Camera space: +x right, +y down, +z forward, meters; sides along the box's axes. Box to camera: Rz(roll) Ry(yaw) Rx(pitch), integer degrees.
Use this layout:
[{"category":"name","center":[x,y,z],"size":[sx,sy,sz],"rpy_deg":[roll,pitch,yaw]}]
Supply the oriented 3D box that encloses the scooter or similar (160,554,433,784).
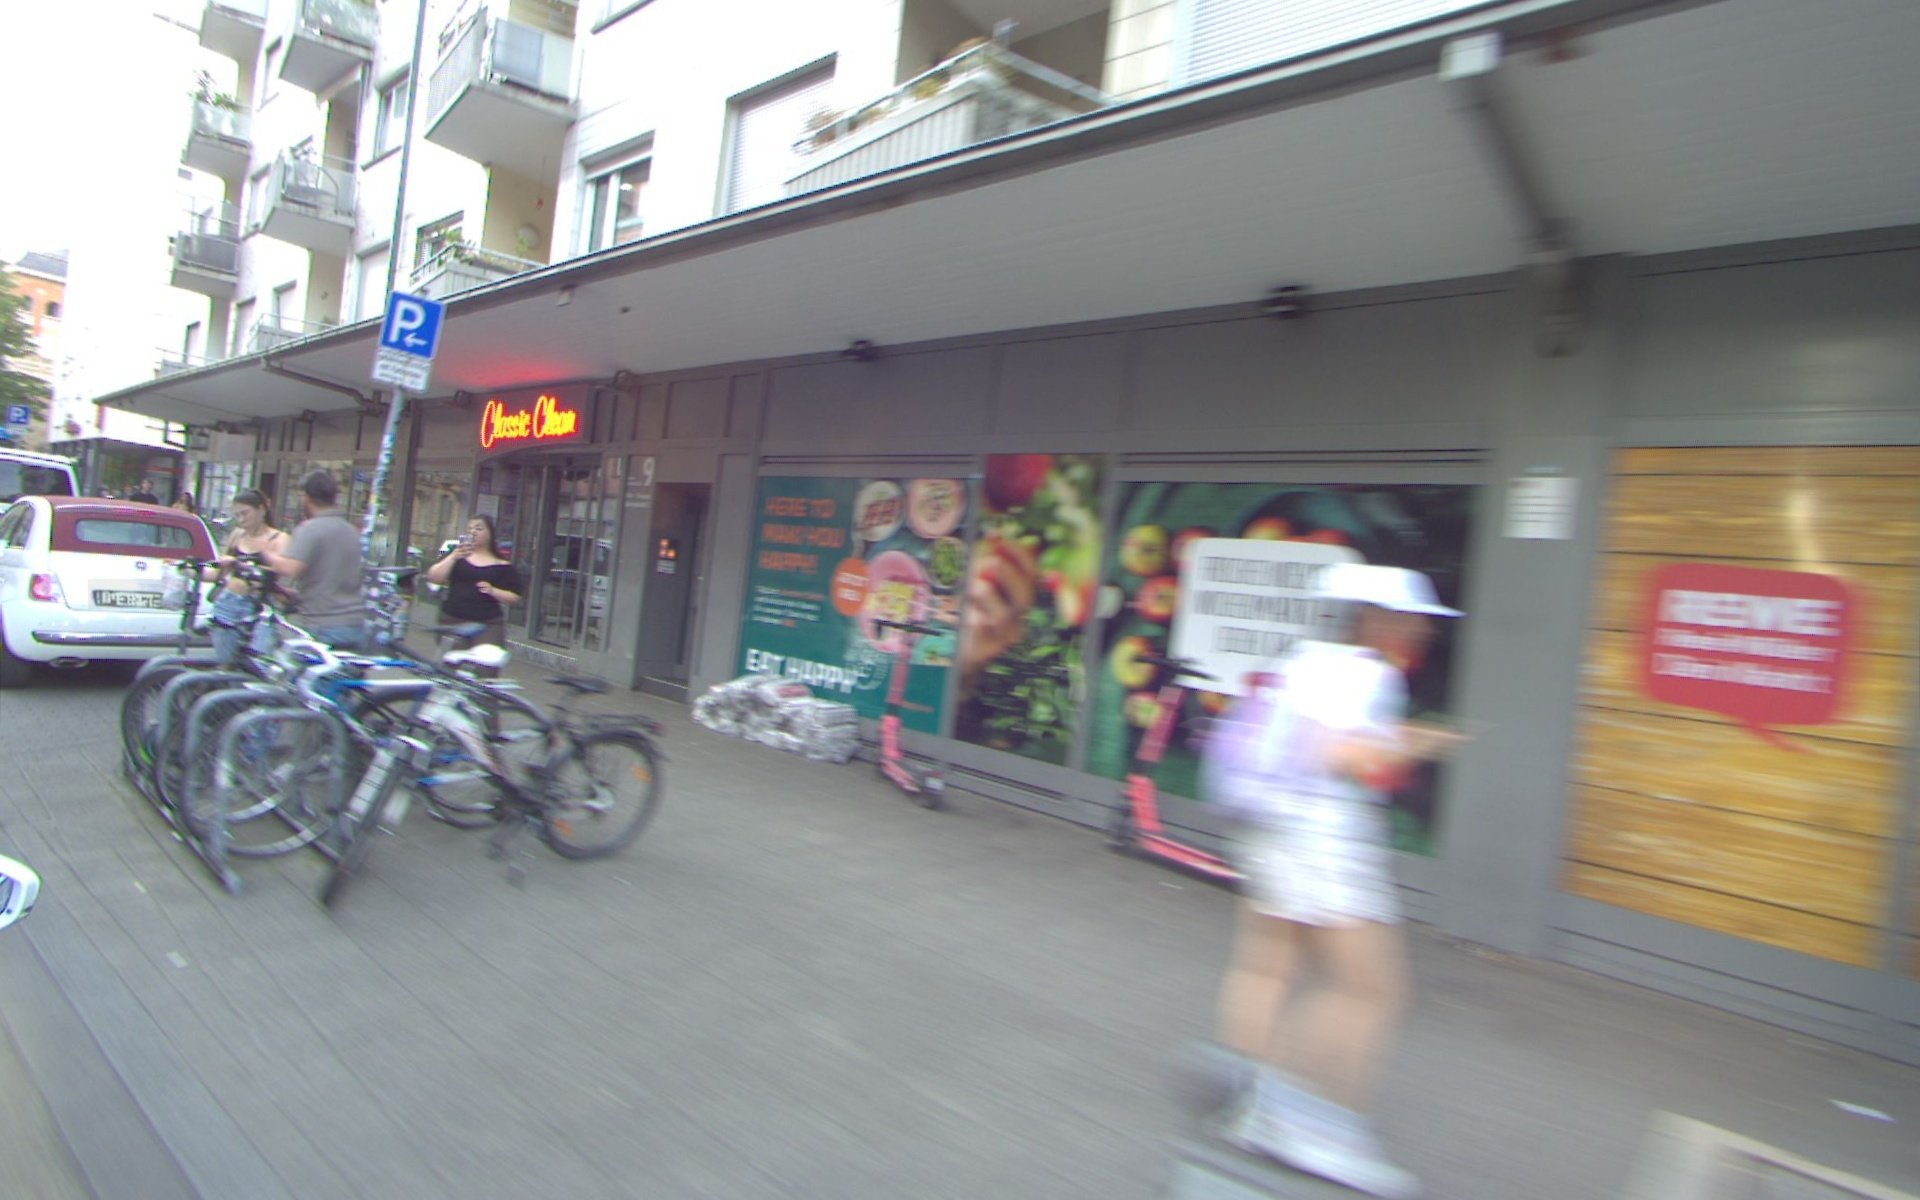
[{"category":"scooter or similar","center":[-3.908,0.399,5.986],"size":[0.528,1.186,1.160],"rpy_deg":[9,3,35]}]

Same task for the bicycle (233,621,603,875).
[{"category":"bicycle","center":[-2.514,0.650,4.798],"size":[0.503,0.996,1.416],"rpy_deg":[6,1,39]}]

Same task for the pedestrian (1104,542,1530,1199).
[{"category":"pedestrian","center":[0.990,0.725,2.911],"size":[0.867,1.674,0.663],"rpy_deg":[6,3,19]}]

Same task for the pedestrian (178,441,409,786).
[{"category":"pedestrian","center":[-3.765,0.069,5.720],"size":[0.651,1.779,0.737],"rpy_deg":[6,2,17]}]

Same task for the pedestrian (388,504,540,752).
[{"category":"pedestrian","center":[-3.538,0.194,7.222],"size":[0.714,1.653,0.561],"rpy_deg":[6,2,-10]}]

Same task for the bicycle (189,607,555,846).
[{"category":"bicycle","center":[-2.910,0.607,5.069],"size":[1.472,1.015,0.505],"rpy_deg":[5,1,-42]}]

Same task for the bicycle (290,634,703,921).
[{"category":"bicycle","center":[-1.966,0.708,4.461],"size":[0.503,1.014,1.545],"rpy_deg":[6,1,39]}]

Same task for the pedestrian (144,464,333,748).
[{"category":"pedestrian","center":[-4.456,0.036,6.252],"size":[0.581,1.620,0.647],"rpy_deg":[6,2,2]}]

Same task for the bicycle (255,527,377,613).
[{"category":"bicycle","center":[-10.455,-0.482,16.328],"size":[1.682,1.211,0.911],"rpy_deg":[6,2,29]}]

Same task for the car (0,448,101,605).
[{"category":"car","center":[-14.455,-1.222,14.930],"size":[4.934,1.999,1.954],"rpy_deg":[7,2,43]}]

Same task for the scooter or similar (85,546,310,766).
[{"category":"scooter or similar","center":[-4.674,0.299,6.252],"size":[0.528,1.186,1.161],"rpy_deg":[7,2,-8]}]

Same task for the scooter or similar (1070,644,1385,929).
[{"category":"scooter or similar","center":[1.414,0.943,5.597],"size":[0.476,1.233,1.605],"rpy_deg":[5,0,-40]}]

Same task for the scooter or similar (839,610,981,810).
[{"category":"scooter or similar","center":[-0.386,0.740,7.149],"size":[0.530,1.218,1.158],"rpy_deg":[7,1,-21]}]

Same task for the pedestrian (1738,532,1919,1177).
[{"category":"pedestrian","center":[3.355,0.815,3.182],"size":[1.174,1.937,0.759],"rpy_deg":[8,3,43]}]

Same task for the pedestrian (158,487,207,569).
[{"category":"pedestrian","center":[-16.952,-1.552,21.953],"size":[0.704,1.687,0.737],"rpy_deg":[5,1,-35]}]

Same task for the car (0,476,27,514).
[{"category":"car","center":[-46.620,-5.122,46.897],"size":[1.722,1.669,4.389],"rpy_deg":[7,2,41]}]

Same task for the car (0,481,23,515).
[{"category":"car","center":[-44.910,-4.802,44.749],"size":[1.752,1.474,4.420],"rpy_deg":[7,1,36]}]

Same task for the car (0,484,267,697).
[{"category":"car","center":[-7.634,-0.166,8.886],"size":[3.374,1.520,1.590],"rpy_deg":[7,2,40]}]

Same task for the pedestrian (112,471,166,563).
[{"category":"pedestrian","center":[-17.650,-1.768,21.640],"size":[0.703,1.851,0.853],"rpy_deg":[5,1,-33]}]
